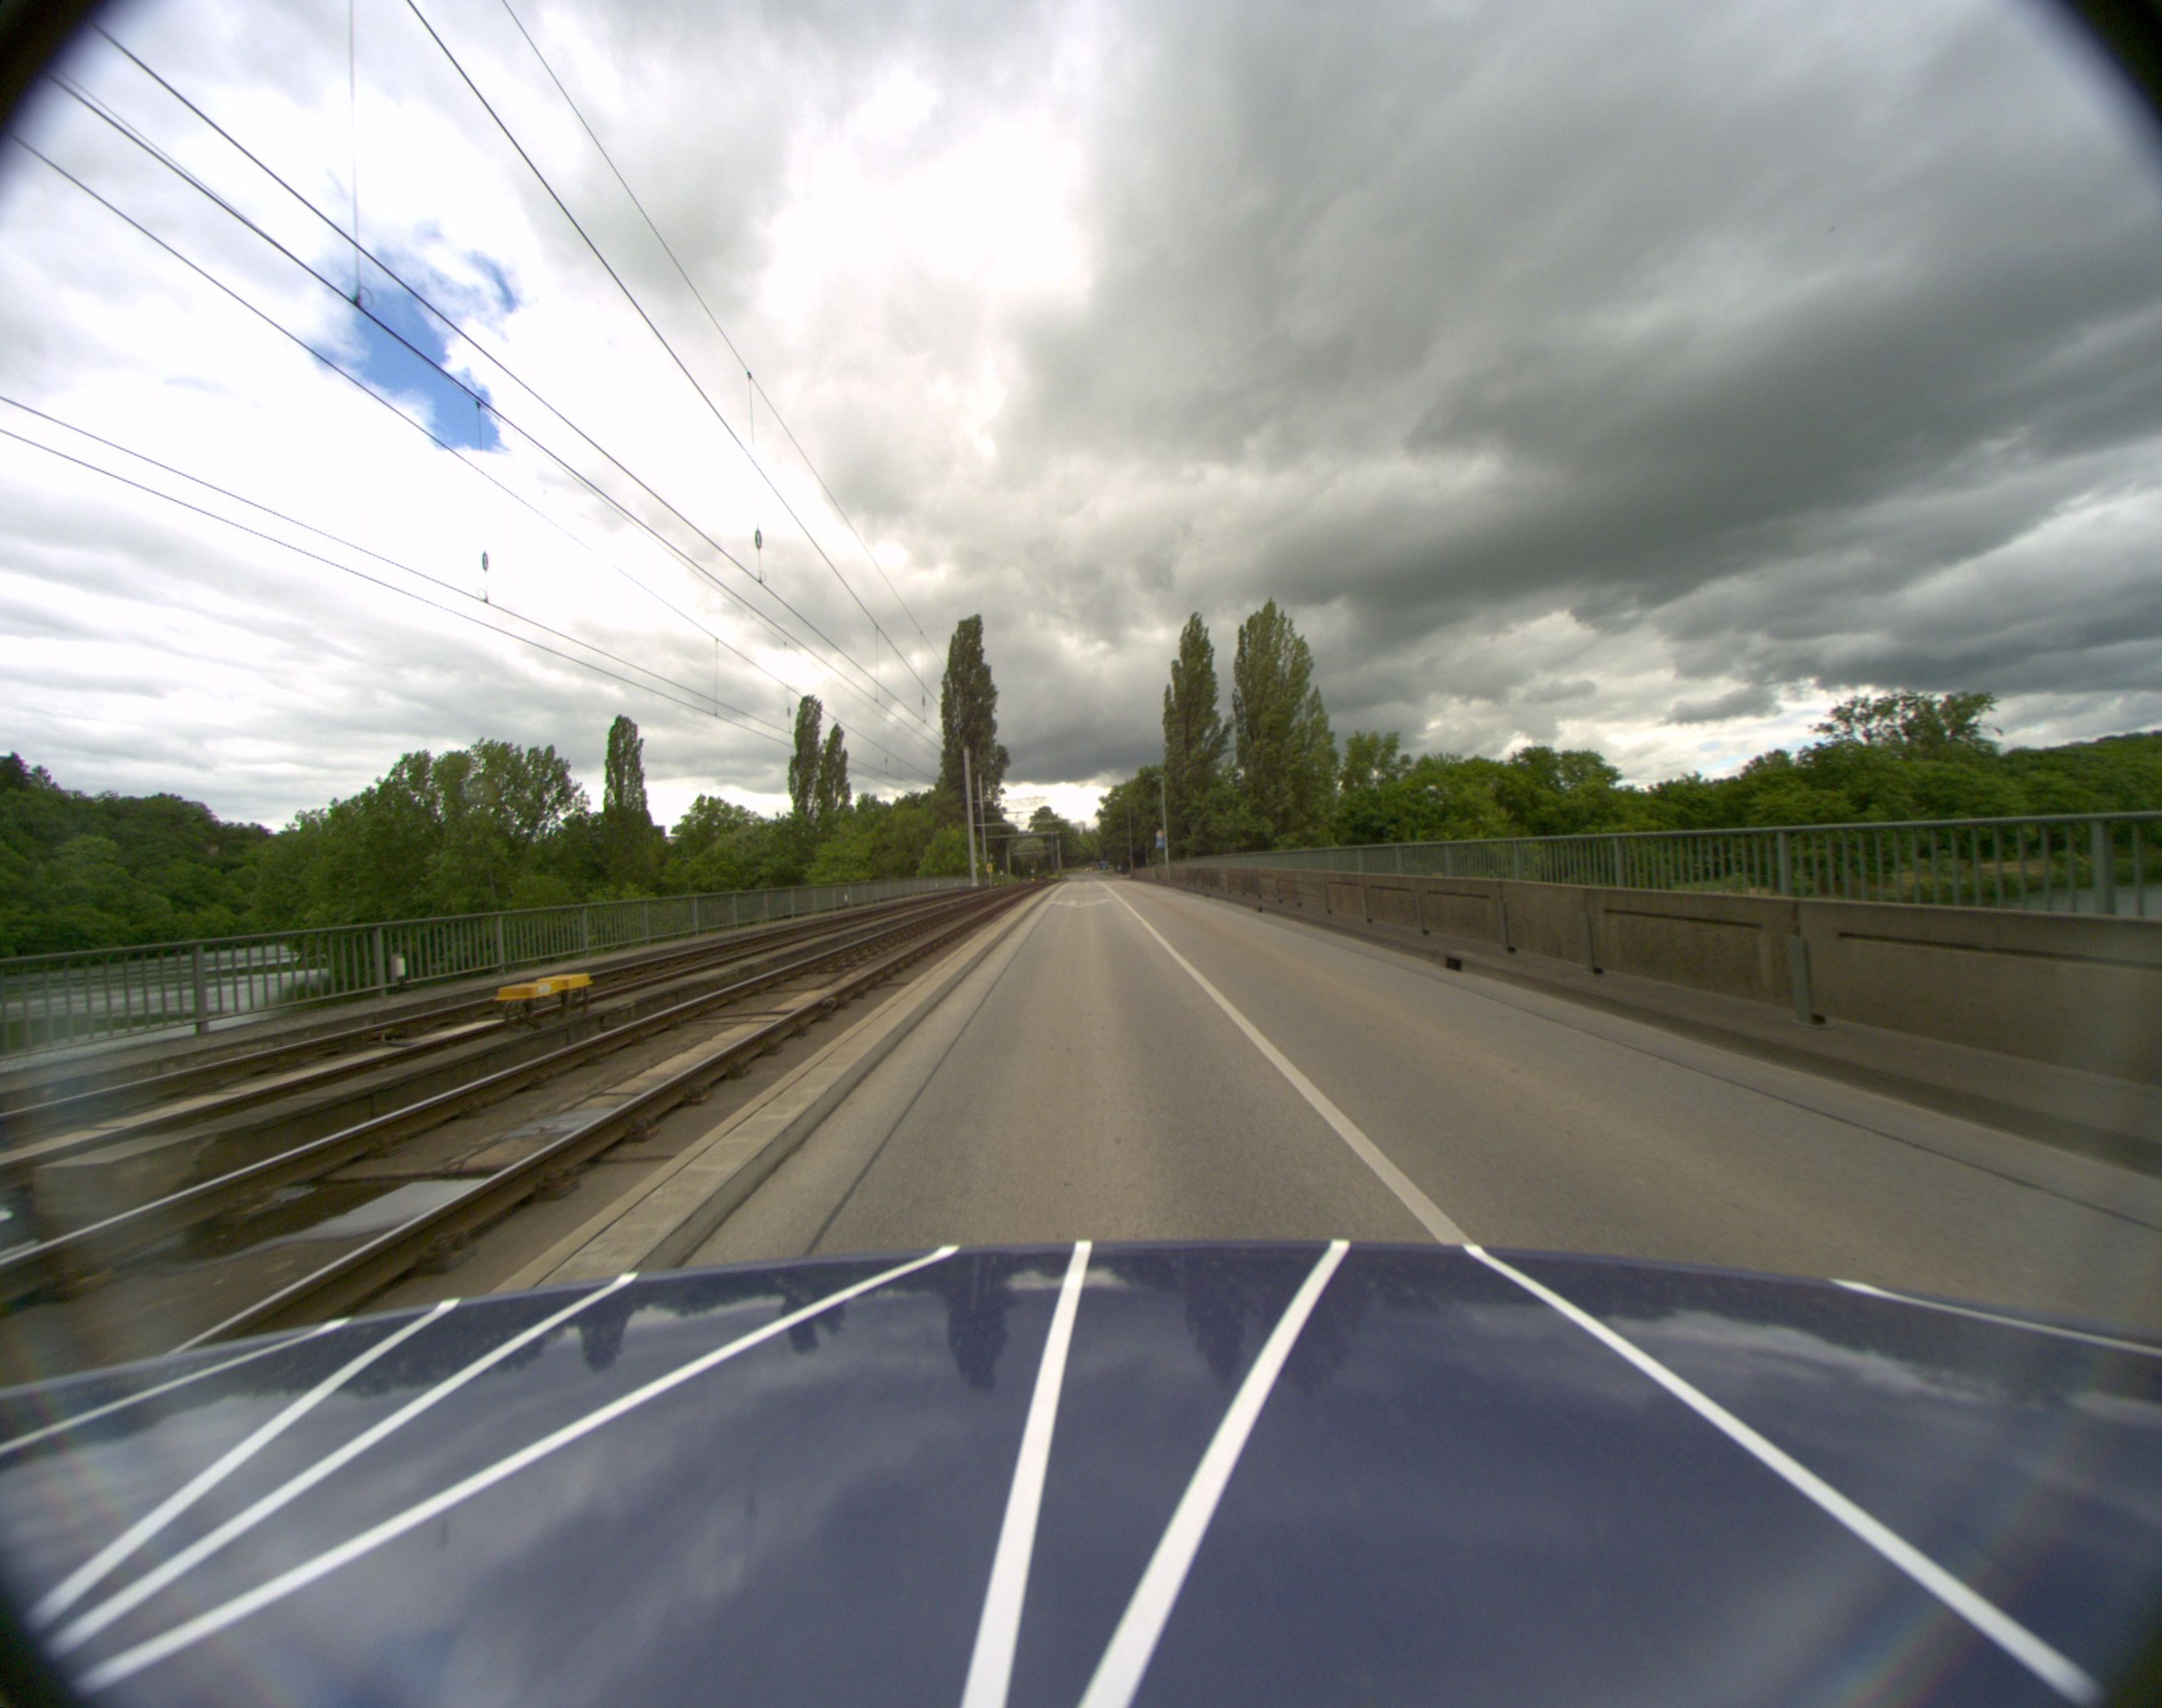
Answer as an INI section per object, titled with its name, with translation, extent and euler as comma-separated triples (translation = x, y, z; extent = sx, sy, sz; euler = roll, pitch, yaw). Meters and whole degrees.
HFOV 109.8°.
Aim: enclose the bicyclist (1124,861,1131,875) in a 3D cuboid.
[bicyclist]
translation = 6.266, 1.885, 102.581
extent = 0.688, 1.936, 0.835
euler = -4, -1, -4
